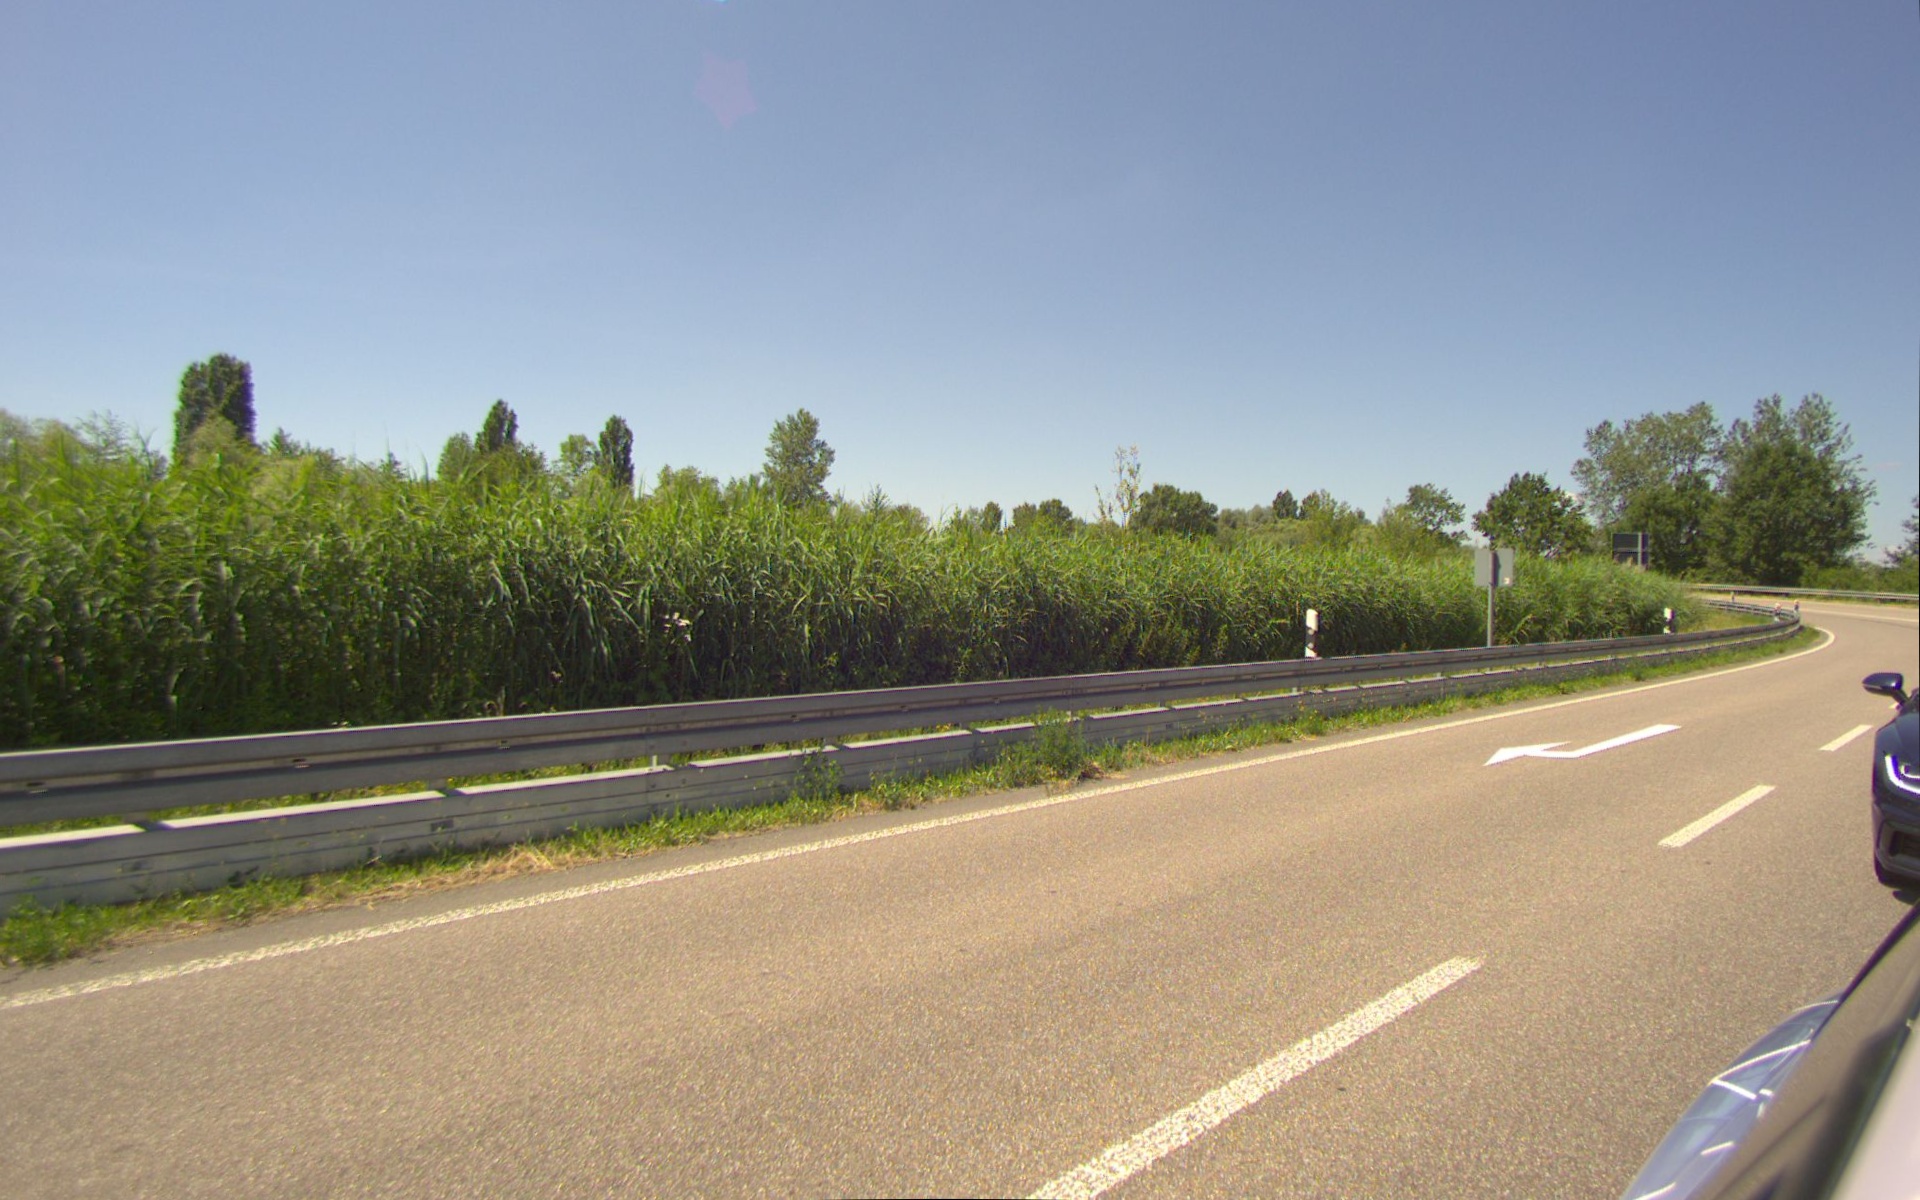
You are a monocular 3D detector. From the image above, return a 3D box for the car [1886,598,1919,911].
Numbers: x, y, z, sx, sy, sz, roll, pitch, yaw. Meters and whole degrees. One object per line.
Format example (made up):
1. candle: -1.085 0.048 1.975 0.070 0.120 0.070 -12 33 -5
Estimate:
1. car: 6.380 0.700 5.370 3.931 1.427 1.759 -1 1 -41
